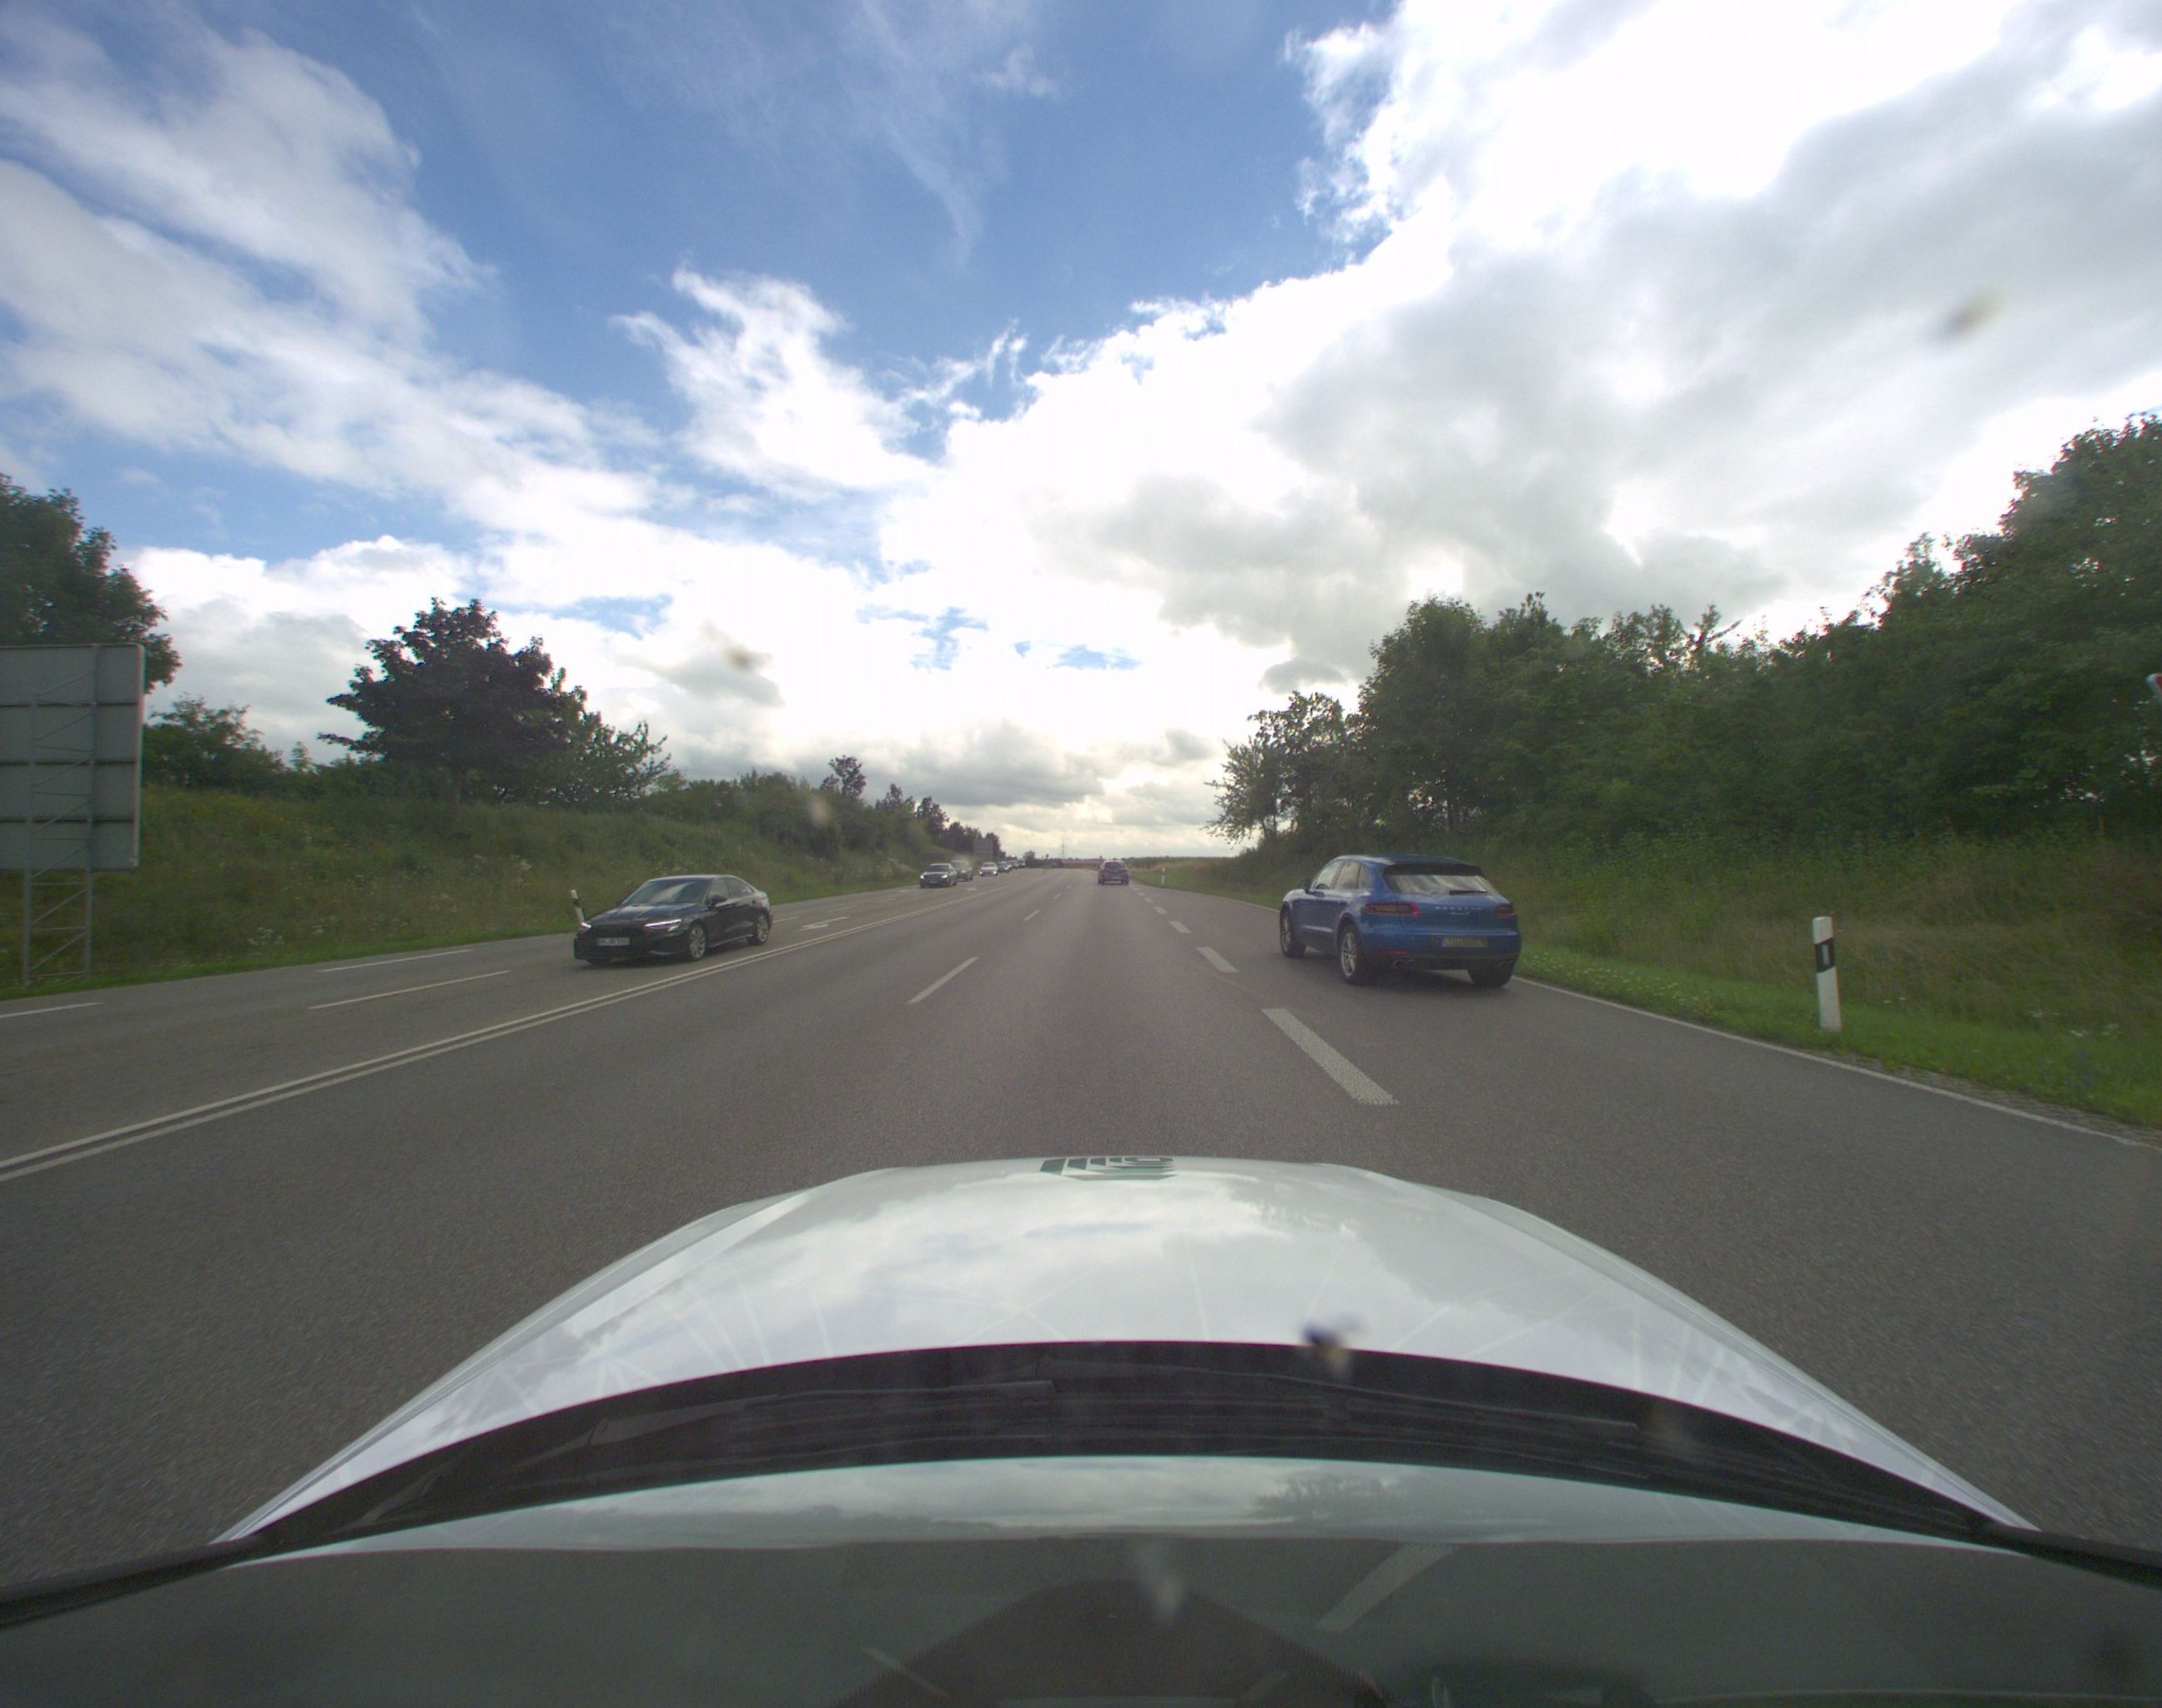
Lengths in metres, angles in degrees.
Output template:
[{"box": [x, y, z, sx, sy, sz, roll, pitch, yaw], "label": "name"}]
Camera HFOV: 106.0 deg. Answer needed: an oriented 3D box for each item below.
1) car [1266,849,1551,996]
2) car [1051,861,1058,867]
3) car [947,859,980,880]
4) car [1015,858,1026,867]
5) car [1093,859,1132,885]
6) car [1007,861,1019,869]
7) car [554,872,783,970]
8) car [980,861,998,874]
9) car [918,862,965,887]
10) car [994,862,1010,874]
[{"box": [4.155, 0.774, 11.348, 1.988, 1.570, 4.754, 1, 0, -1], "label": "car"}, {"box": [-7.809, 3.081, 242.047, 1.987, 1.715, 3.999, -1, -1, 0], "label": "car"}, {"box": [-9.601, 1.212, 66.883, 1.987, 1.610, 4.991, -1, 0, 0], "label": "car"}, {"box": [-14.858, 2.138, 201.082, 2.357, 2.211, 5.917, -1, 0, -2], "label": "car"}, {"box": [1.938, 1.094, 51.079, 1.990, 1.535, 3.993, 0, 0, -5], "label": "car"}, {"box": [-12.685, 2.003, 151.666, 1.988, 1.508, 3.998, -1, -1, -1], "label": "car"}, {"box": [-7.100, 1.070, 14.649, 1.759, 1.383, 4.543, -1, 0, 0], "label": "car"}, {"box": [-10.147, 1.486, 90.228, 1.664, 1.442, 4.142, -1, 0, -3], "label": "car"}, {"box": [-8.932, 1.267, 52.626, 1.986, 1.494, 4.995, -1, 0, 2], "label": "car"}, {"box": [-10.687, 1.846, 110.214, 1.989, 1.508, 3.995, -1, -1, -3], "label": "car"}]
